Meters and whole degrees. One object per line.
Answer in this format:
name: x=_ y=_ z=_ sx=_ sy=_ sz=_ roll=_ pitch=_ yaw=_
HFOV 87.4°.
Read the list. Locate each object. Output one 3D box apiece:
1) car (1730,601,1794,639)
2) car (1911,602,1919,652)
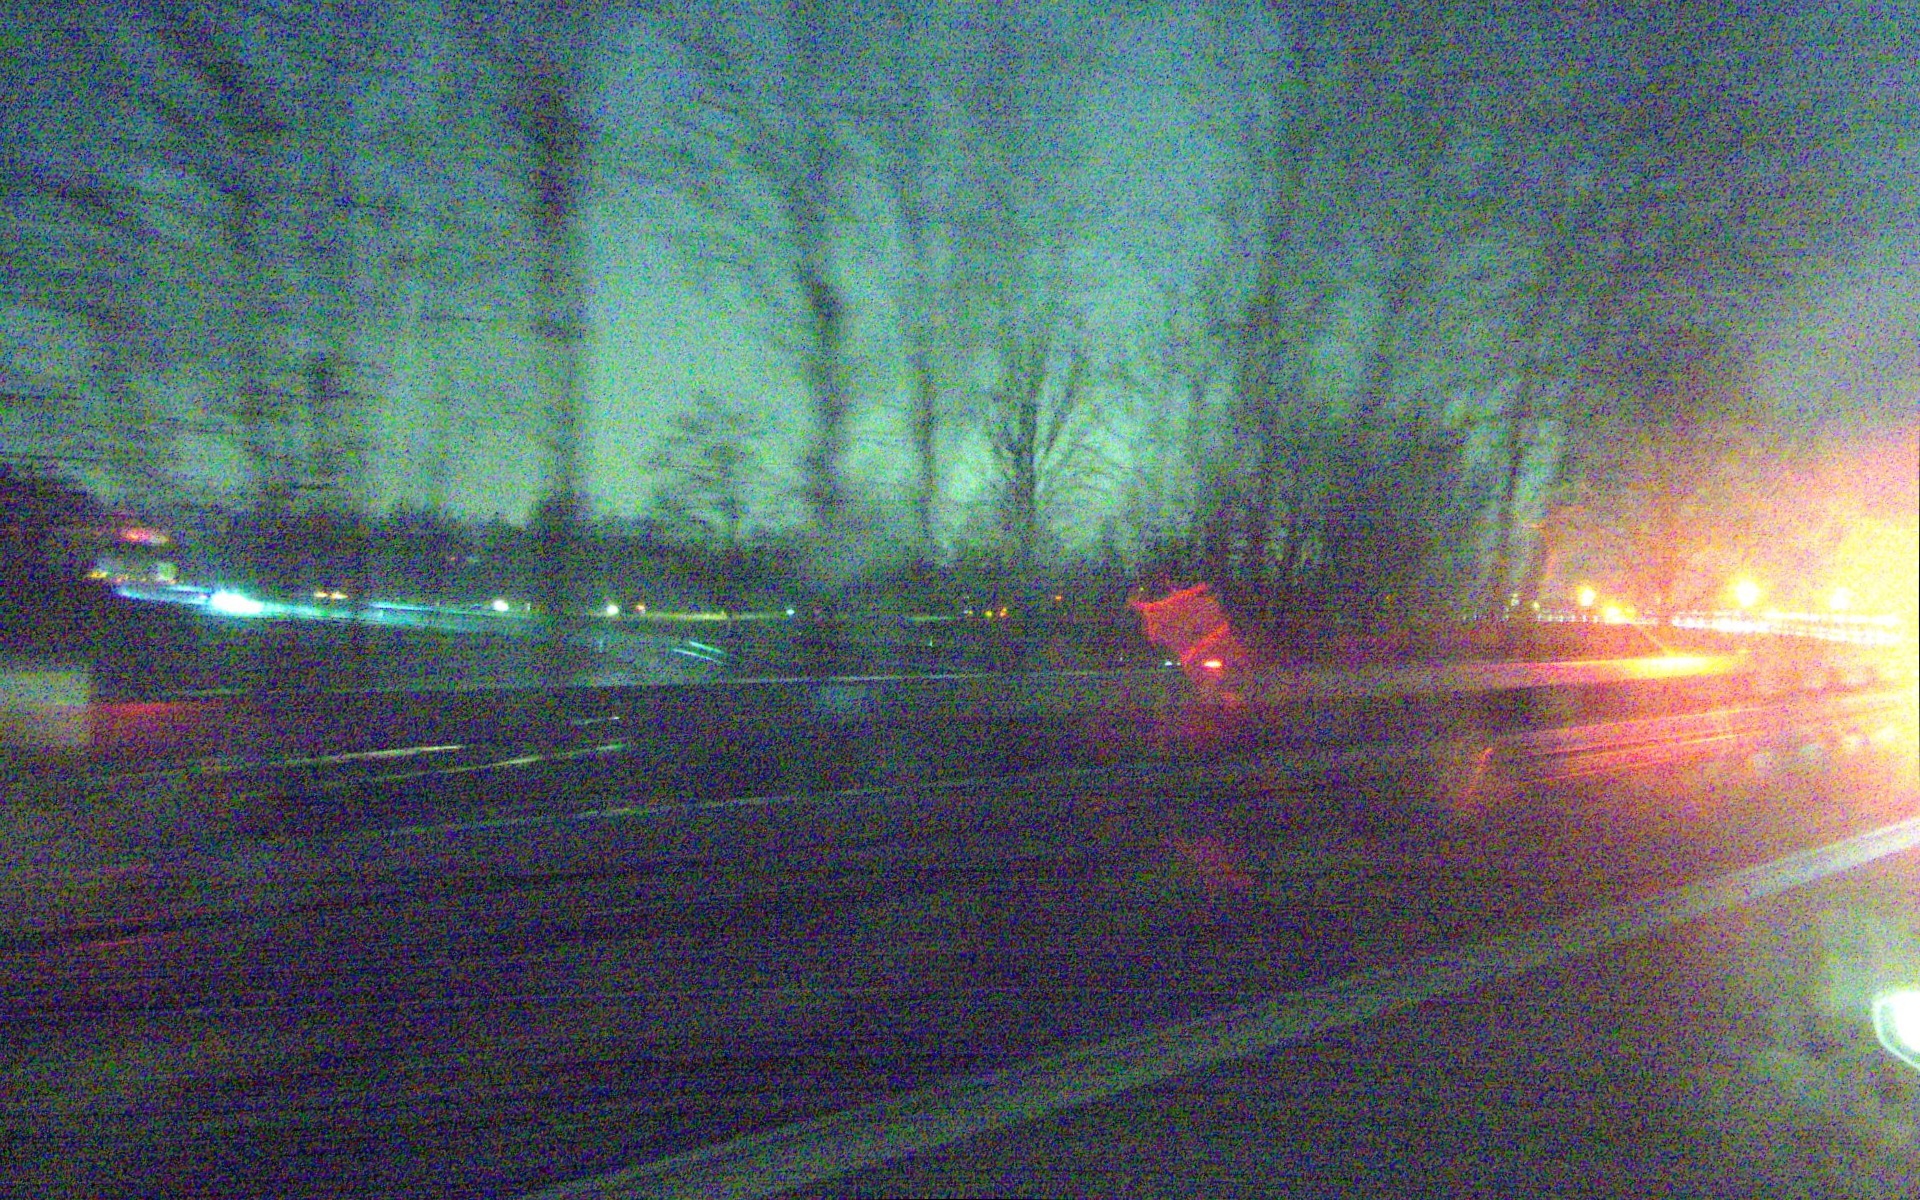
car: x=44.267 y=1.068 z=55.522 sx=1.866 sy=2.024 sz=4.042 roll=0 pitch=0 yaw=25
car: x=39.873 y=1.109 z=40.189 sx=1.869 sy=2.068 sz=4.035 roll=1 pitch=0 yaw=32
